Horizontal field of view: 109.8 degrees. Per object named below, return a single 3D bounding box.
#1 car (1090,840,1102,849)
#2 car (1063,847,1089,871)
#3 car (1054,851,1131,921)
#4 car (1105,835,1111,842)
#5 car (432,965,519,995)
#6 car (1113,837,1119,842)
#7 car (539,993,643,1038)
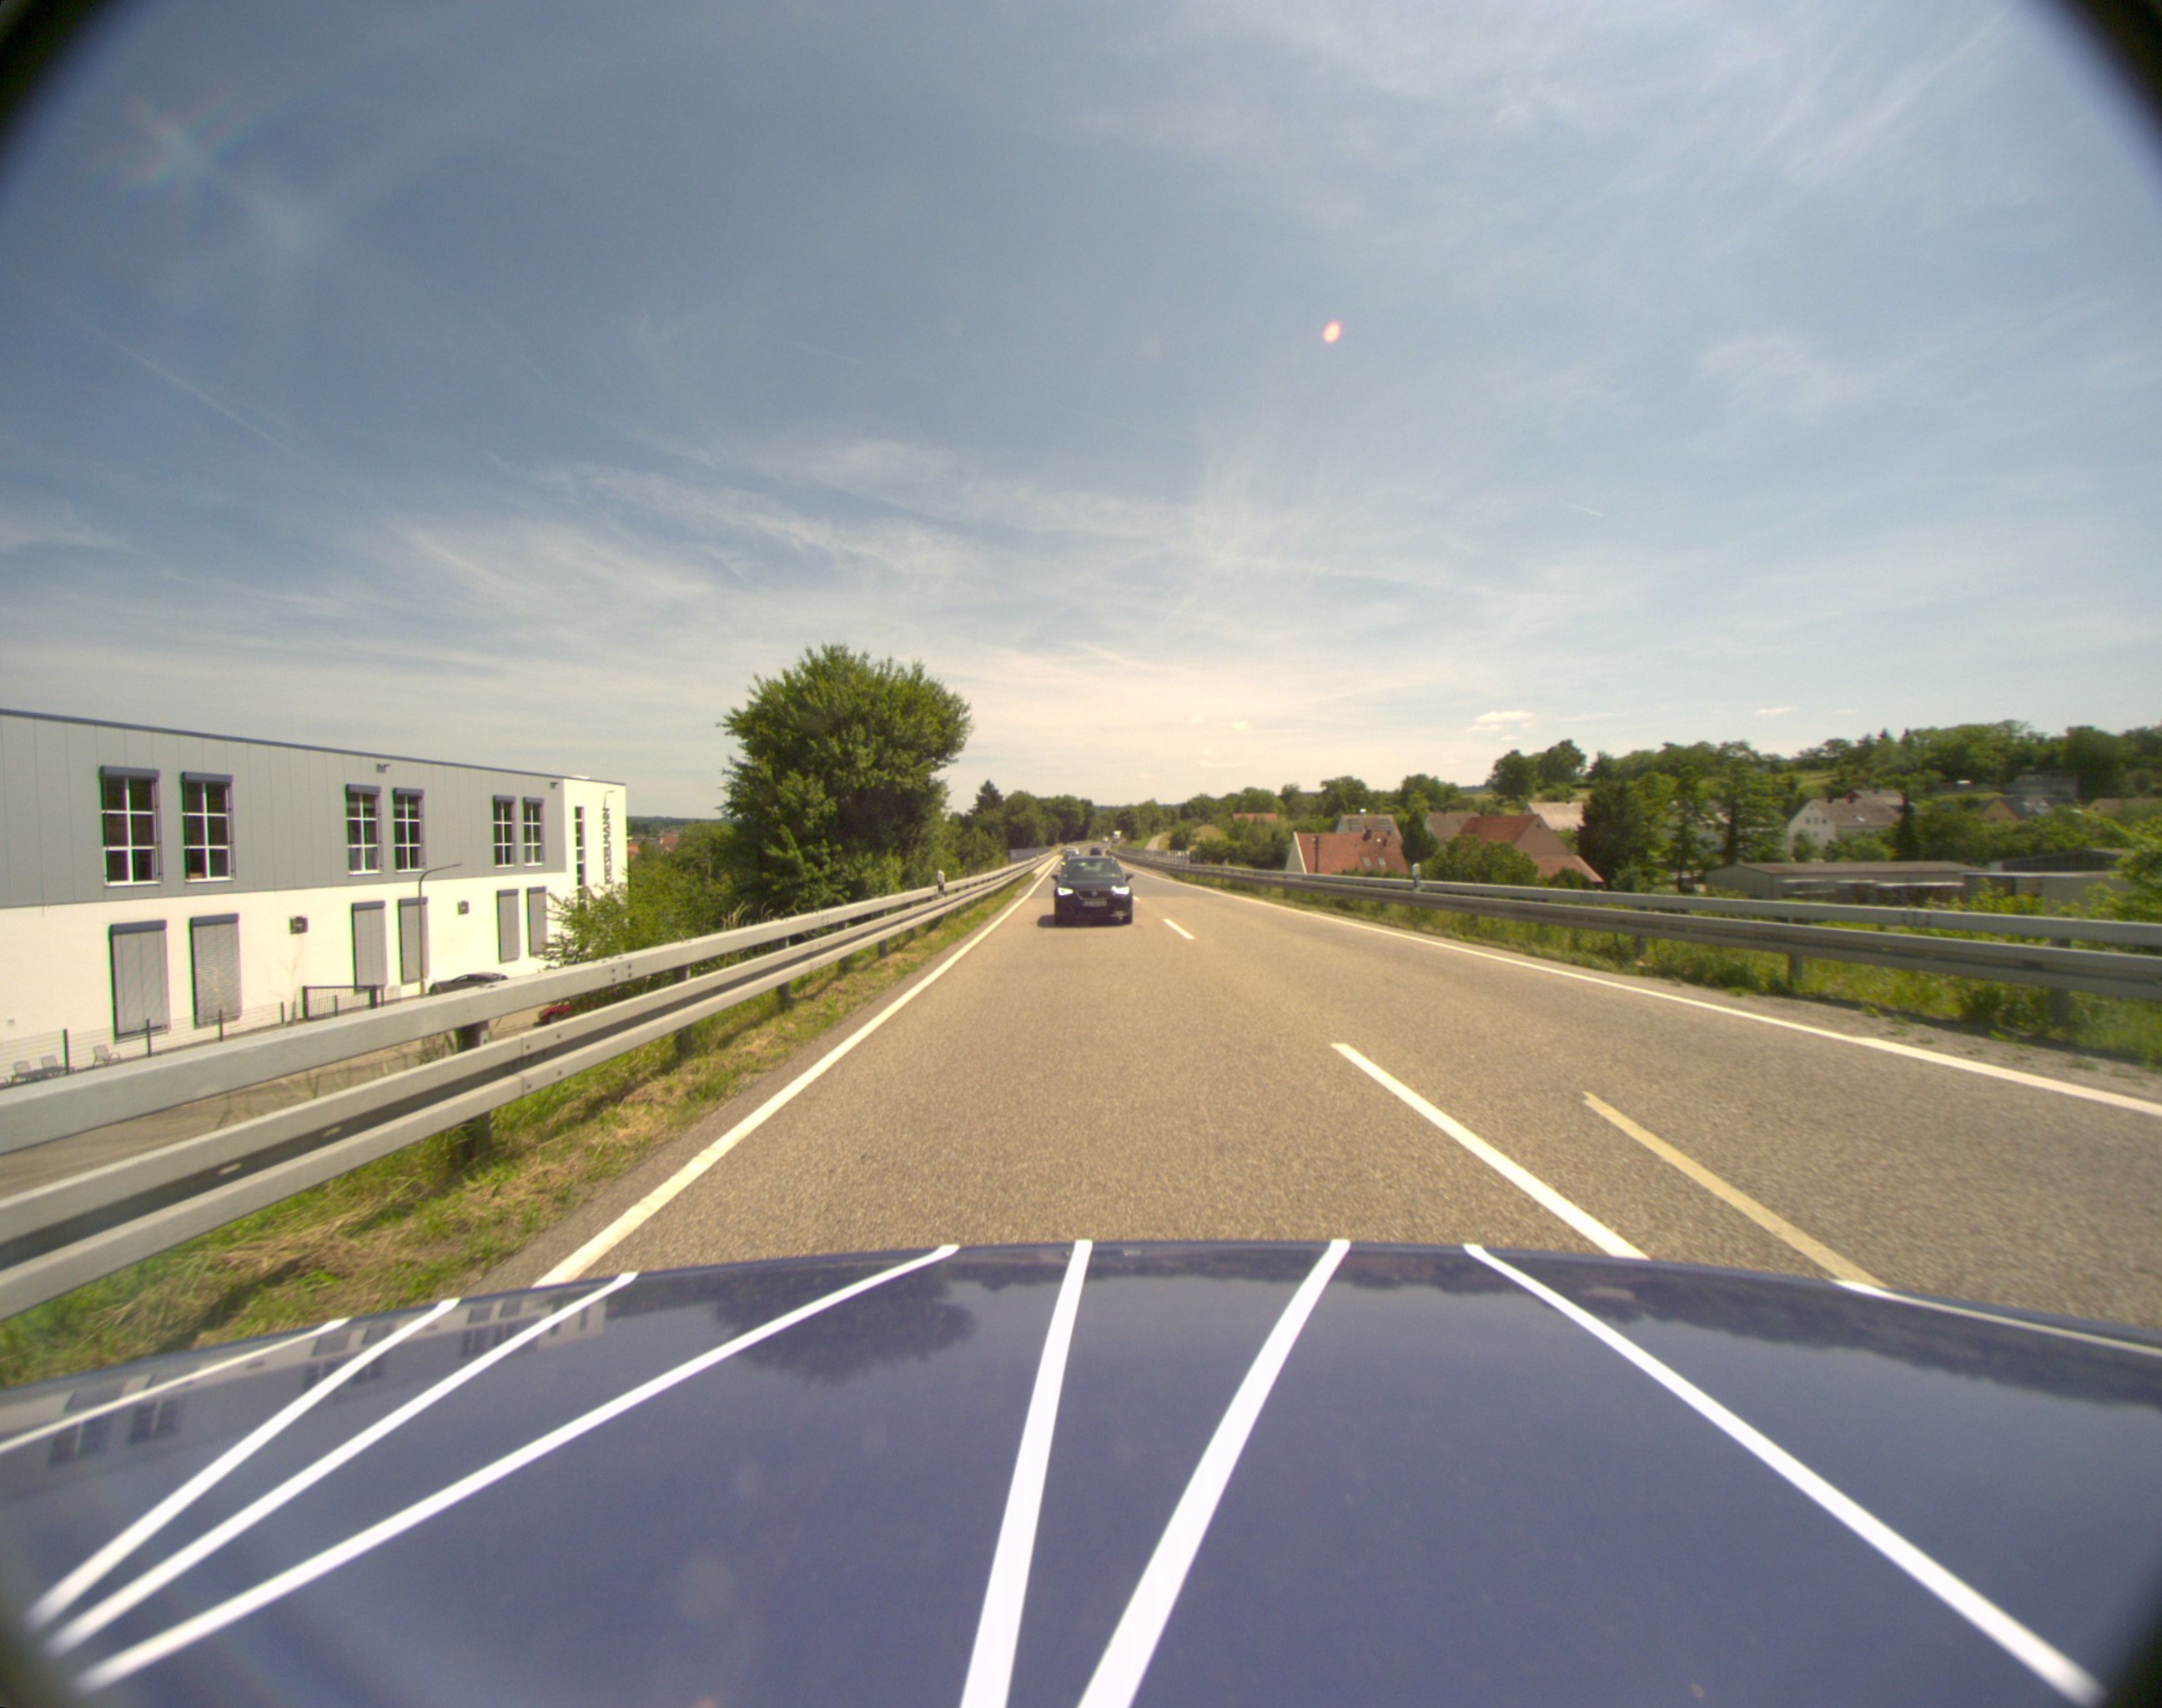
[{"bbox_3d":[2.600,-1.592,130.748,1.870,1.602,4.371,0,1,-1],"label":"car"},{"bbox_3d":[-0.373,0.455,58.827,1.879,1.636,4.002,1,-3,0],"label":"car"},{"bbox_3d":[0.221,0.730,19.349,1.738,1.468,3.998,0,2,-1],"label":"car"},{"bbox_3d":[9.233,-5.327,259.187,1.977,2.002,4.001,3,0,3],"label":"car"},{"bbox_3d":[-39.989,8.342,50.249,4.048,1.562,1.912,3,-2,-1],"label":"car"},{"bbox_3d":[11.548,-4.738,250.947,1.785,1.427,4.835,1,1,5],"label":"car"},{"bbox_3d":[-25.820,8.480,40.236,4.416,1.436,1.787,-5,-2,-30],"label":"car"}]
